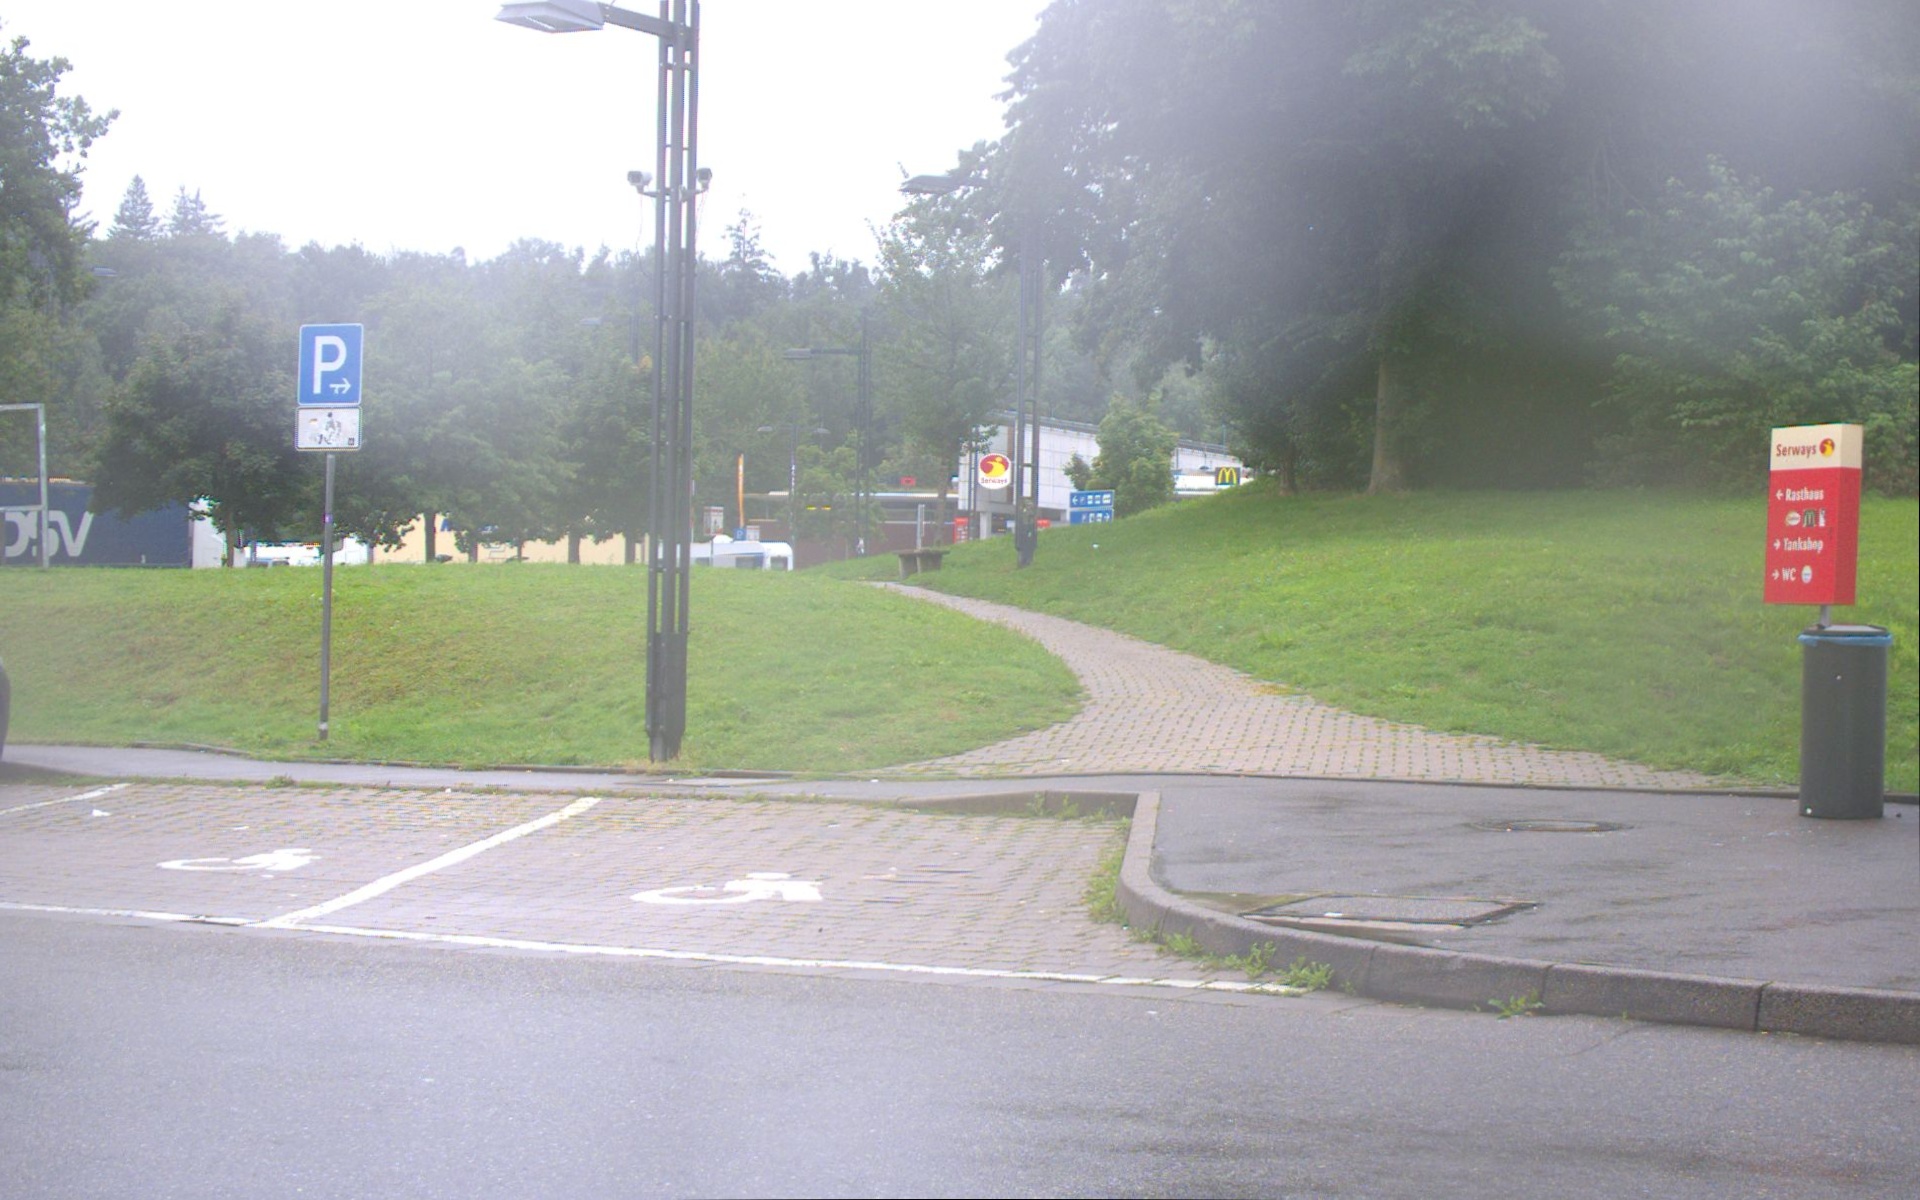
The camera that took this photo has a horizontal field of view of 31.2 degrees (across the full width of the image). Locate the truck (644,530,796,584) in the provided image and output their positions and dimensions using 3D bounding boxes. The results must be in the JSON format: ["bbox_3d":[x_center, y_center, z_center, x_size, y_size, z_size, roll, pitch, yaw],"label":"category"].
[{"bbox_3d":[-9.324,-1.670,133.807,5.413,2.007,2.364,1,1,25],"label":"truck"}]

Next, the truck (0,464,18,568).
[{"bbox_3d":[-28.600,-2.352,94.660,2.189,2.910,5.380,1,1,24],"label":"truck"}]

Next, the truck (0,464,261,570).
[{"bbox_3d":[-25.462,-2.377,101.630,2.188,2.910,13.082,1,1,24],"label":"truck"}]

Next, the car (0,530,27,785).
[{"bbox_3d":[-7.800,0.449,21.493,2.018,1.705,4.341,-1,1,12],"label":"car"}]
